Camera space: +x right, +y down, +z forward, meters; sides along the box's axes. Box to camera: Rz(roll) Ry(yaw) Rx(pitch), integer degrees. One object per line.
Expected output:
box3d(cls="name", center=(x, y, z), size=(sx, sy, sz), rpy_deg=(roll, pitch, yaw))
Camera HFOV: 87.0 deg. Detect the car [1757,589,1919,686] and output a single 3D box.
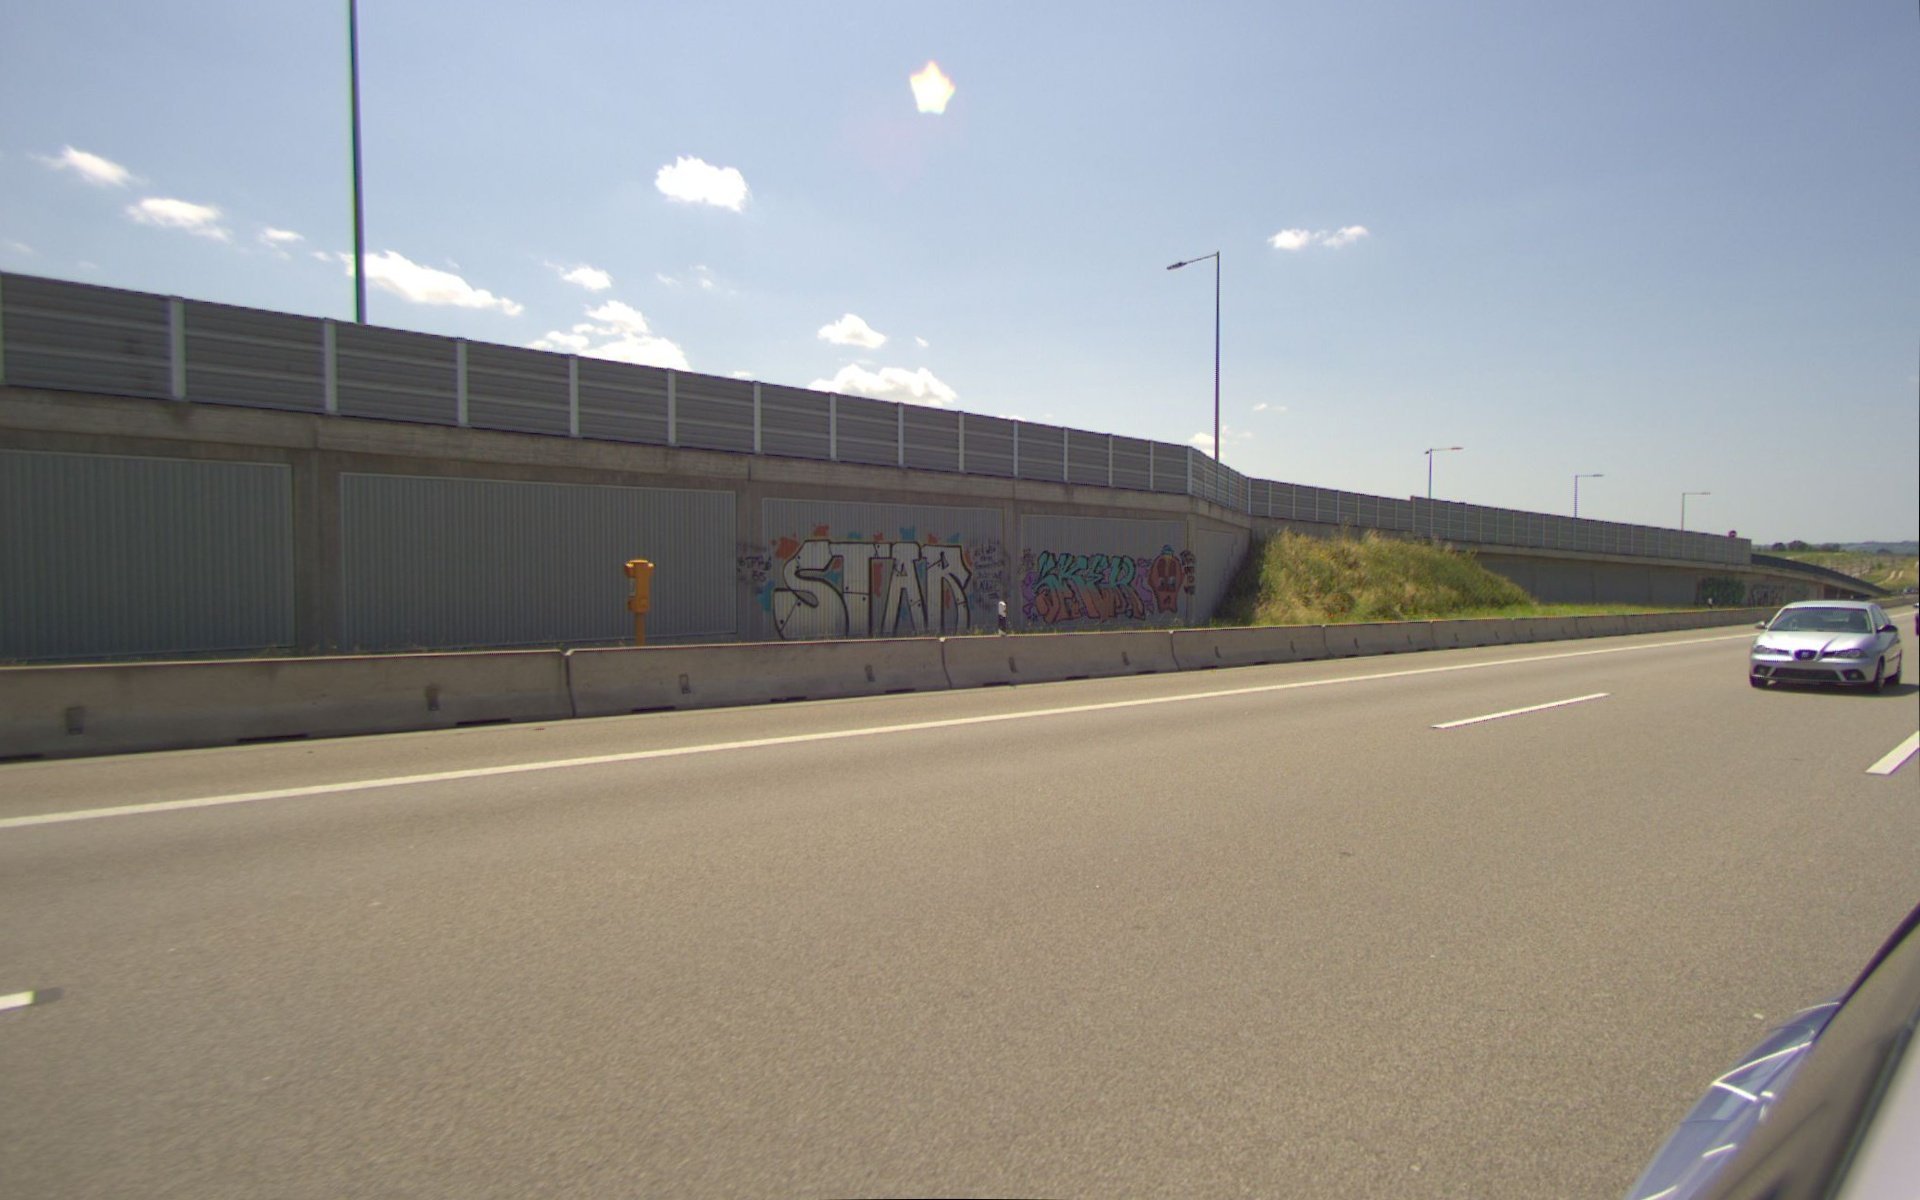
box3d(cls="car", center=(14.801, 0.547, 16.960), size=(3.931, 1.407, 1.633), rpy_deg=(-1, 1, -42))
